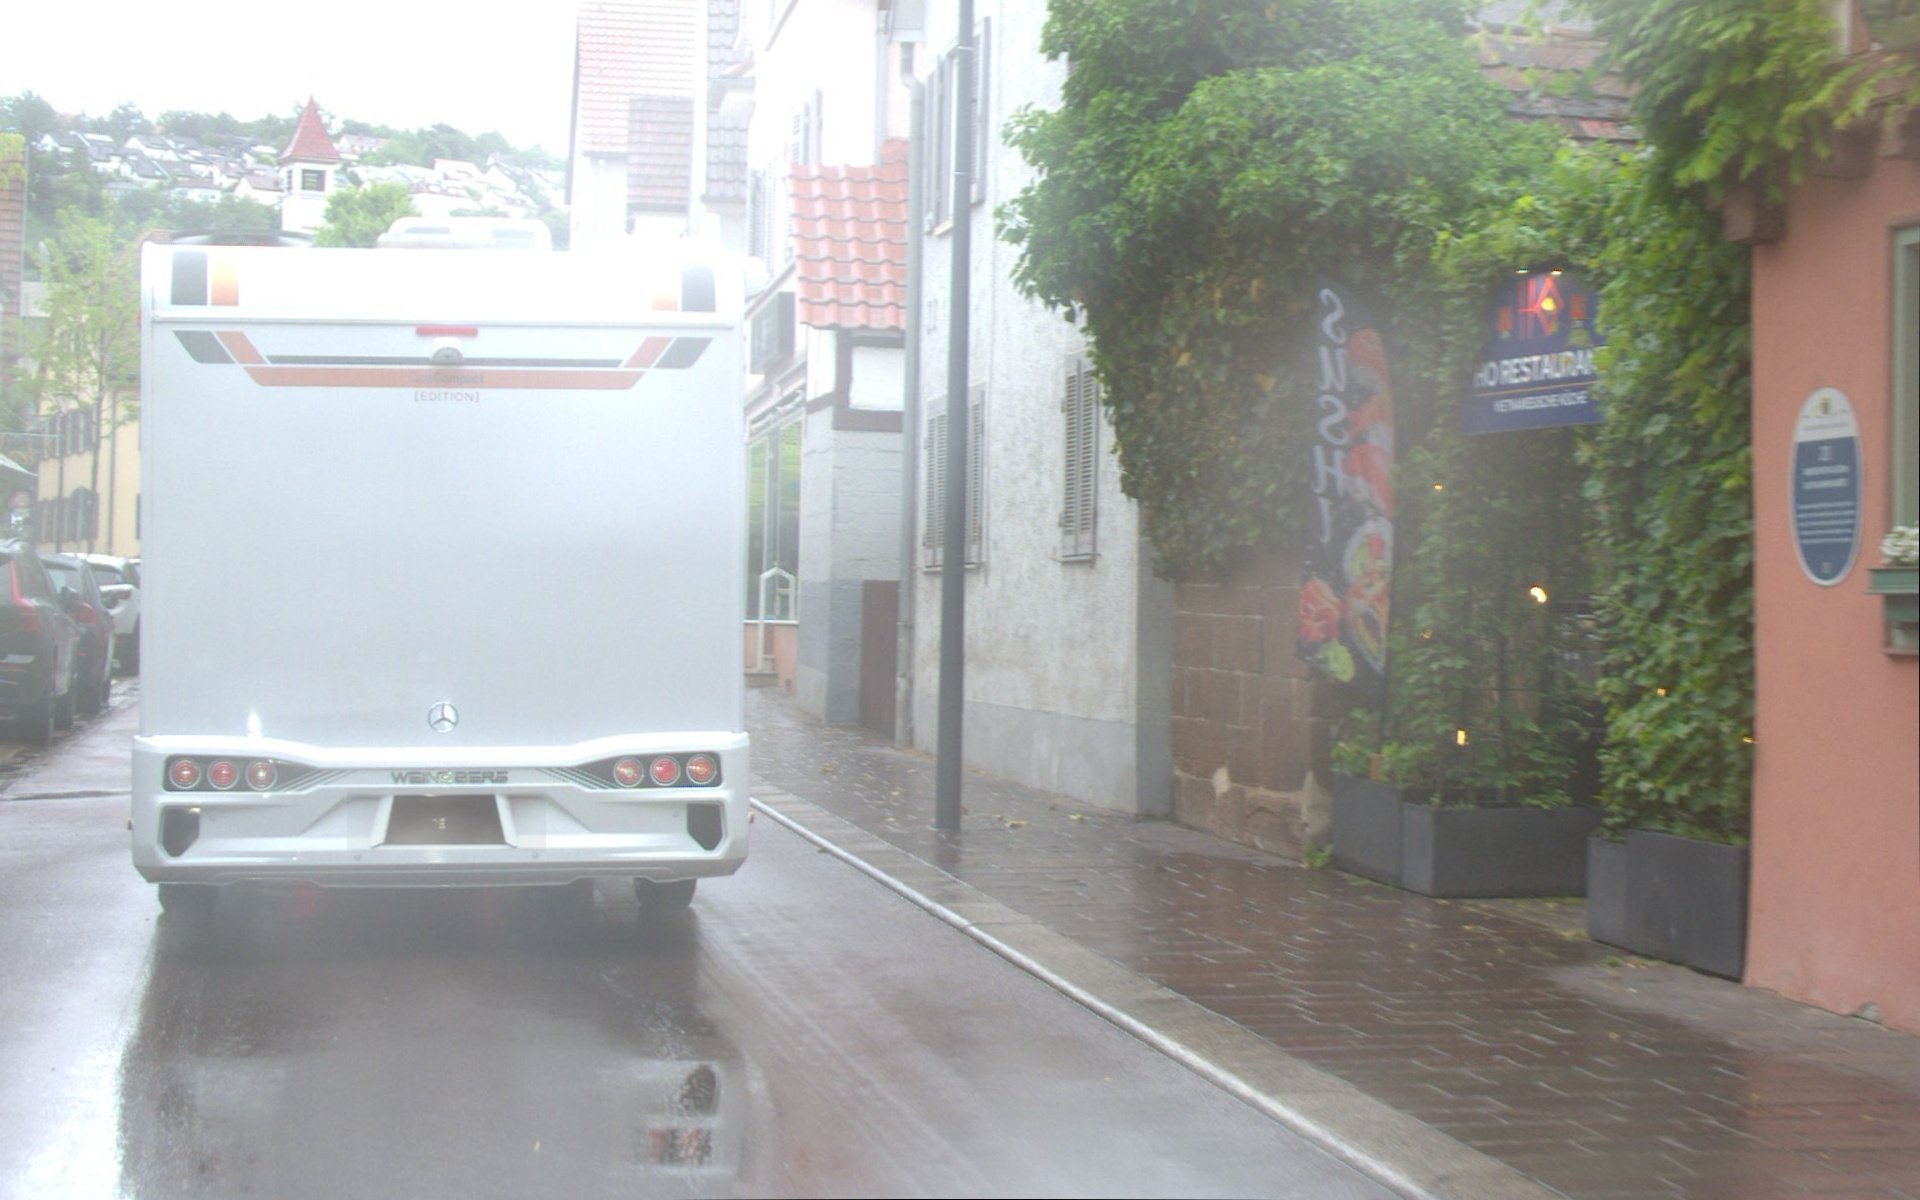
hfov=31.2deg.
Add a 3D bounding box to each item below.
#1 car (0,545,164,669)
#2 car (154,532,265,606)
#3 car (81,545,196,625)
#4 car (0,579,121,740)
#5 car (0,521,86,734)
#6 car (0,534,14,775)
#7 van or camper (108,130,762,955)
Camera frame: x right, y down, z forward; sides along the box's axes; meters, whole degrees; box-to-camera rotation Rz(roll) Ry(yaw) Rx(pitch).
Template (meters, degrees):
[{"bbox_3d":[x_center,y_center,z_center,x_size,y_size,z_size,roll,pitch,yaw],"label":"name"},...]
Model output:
[{"bbox_3d":[-11.485,0.096,45.187,1.826,1.561,4.001,0,0,-10],"label":"car"},{"bbox_3d":[-20.887,-0.836,95.635,1.993,2.007,4.000,0,0,-28],"label":"car"},{"bbox_3d":[-15.967,-0.304,66.685,1.993,1.467,4.001,1,1,-16],"label":"car"},{"bbox_3d":[-9.586,0.580,34.983,1.833,1.546,4.283,0,0,-11],"label":"car"},{"bbox_3d":[-8.462,0.225,29.017,1.833,1.669,4.541,0,0,-11],"label":"car"},{"bbox_3d":[-7.243,0.352,21.926,1.771,1.669,4.480,1,0,-9],"label":"car"},{"bbox_3d":[-2.540,-0.192,15.493,2.325,2.909,6.395,0,0,-12],"label":"van or camper"}]
